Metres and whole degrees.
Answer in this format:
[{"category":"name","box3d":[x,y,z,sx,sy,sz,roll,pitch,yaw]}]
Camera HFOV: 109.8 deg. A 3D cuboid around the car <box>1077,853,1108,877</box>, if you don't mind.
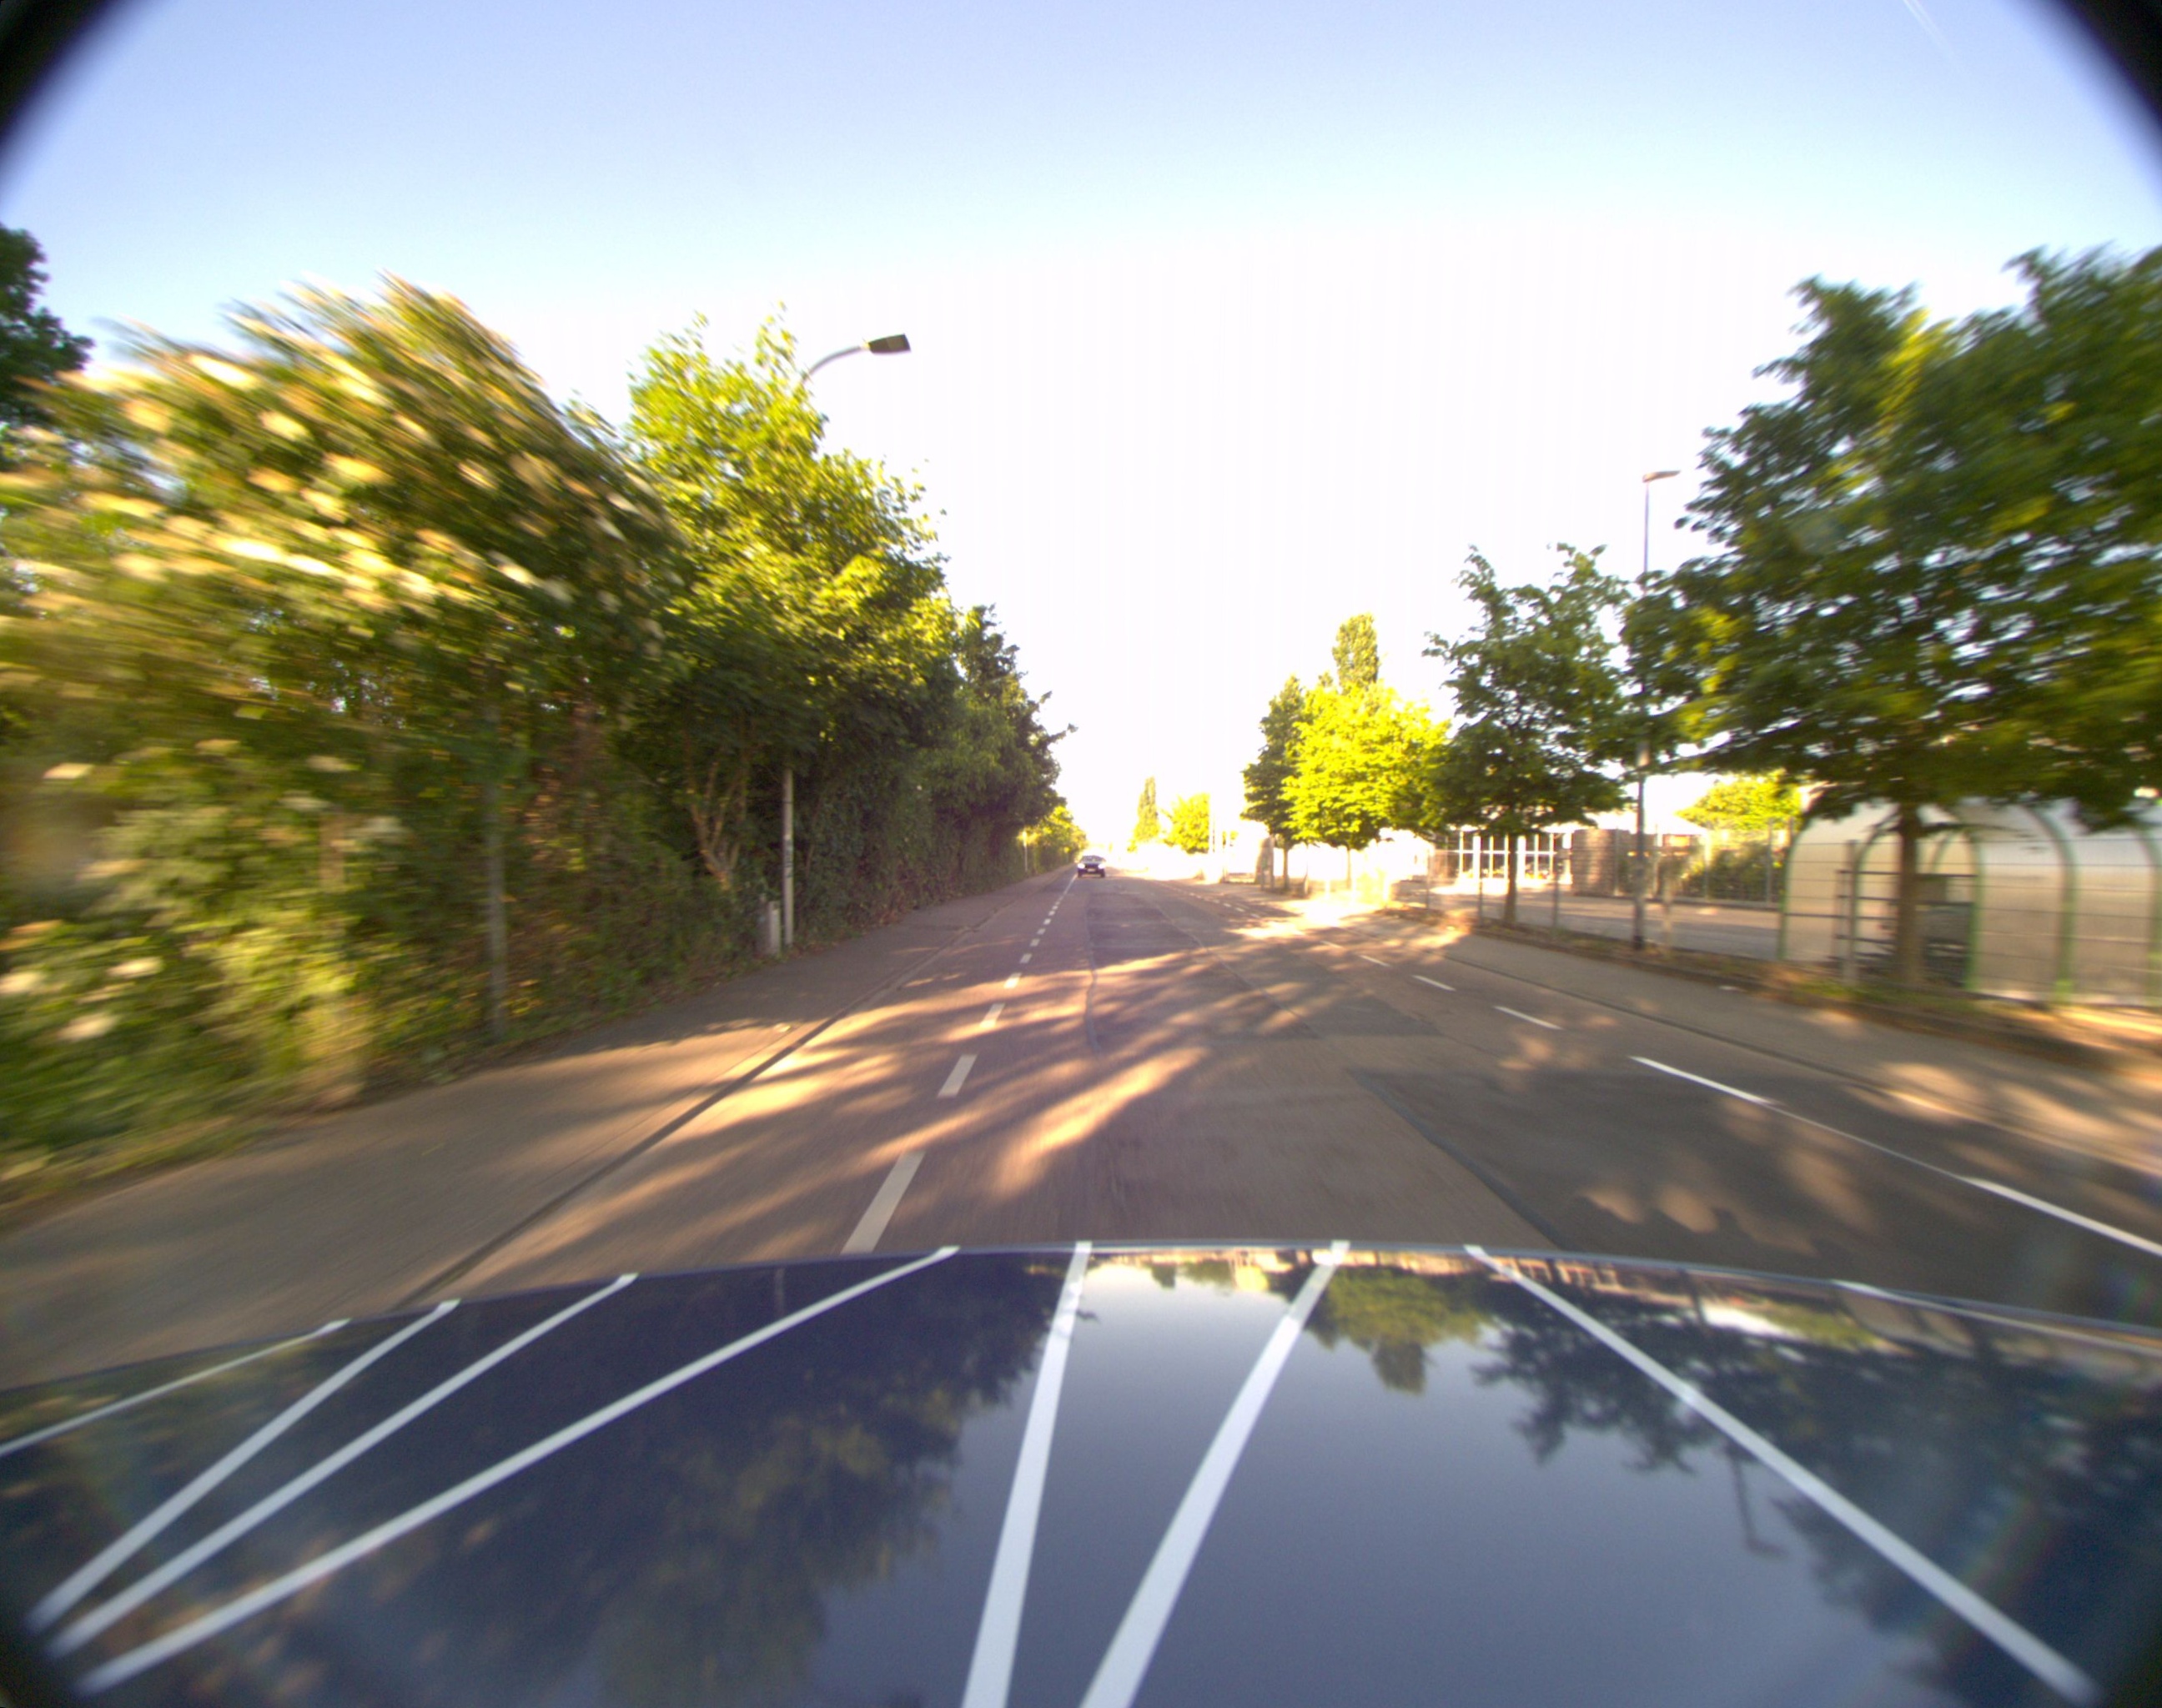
[{"category":"car","box3d":[0.791,0.773,54.297,1.999,1.608,3.999,-3,0,-1]}]
